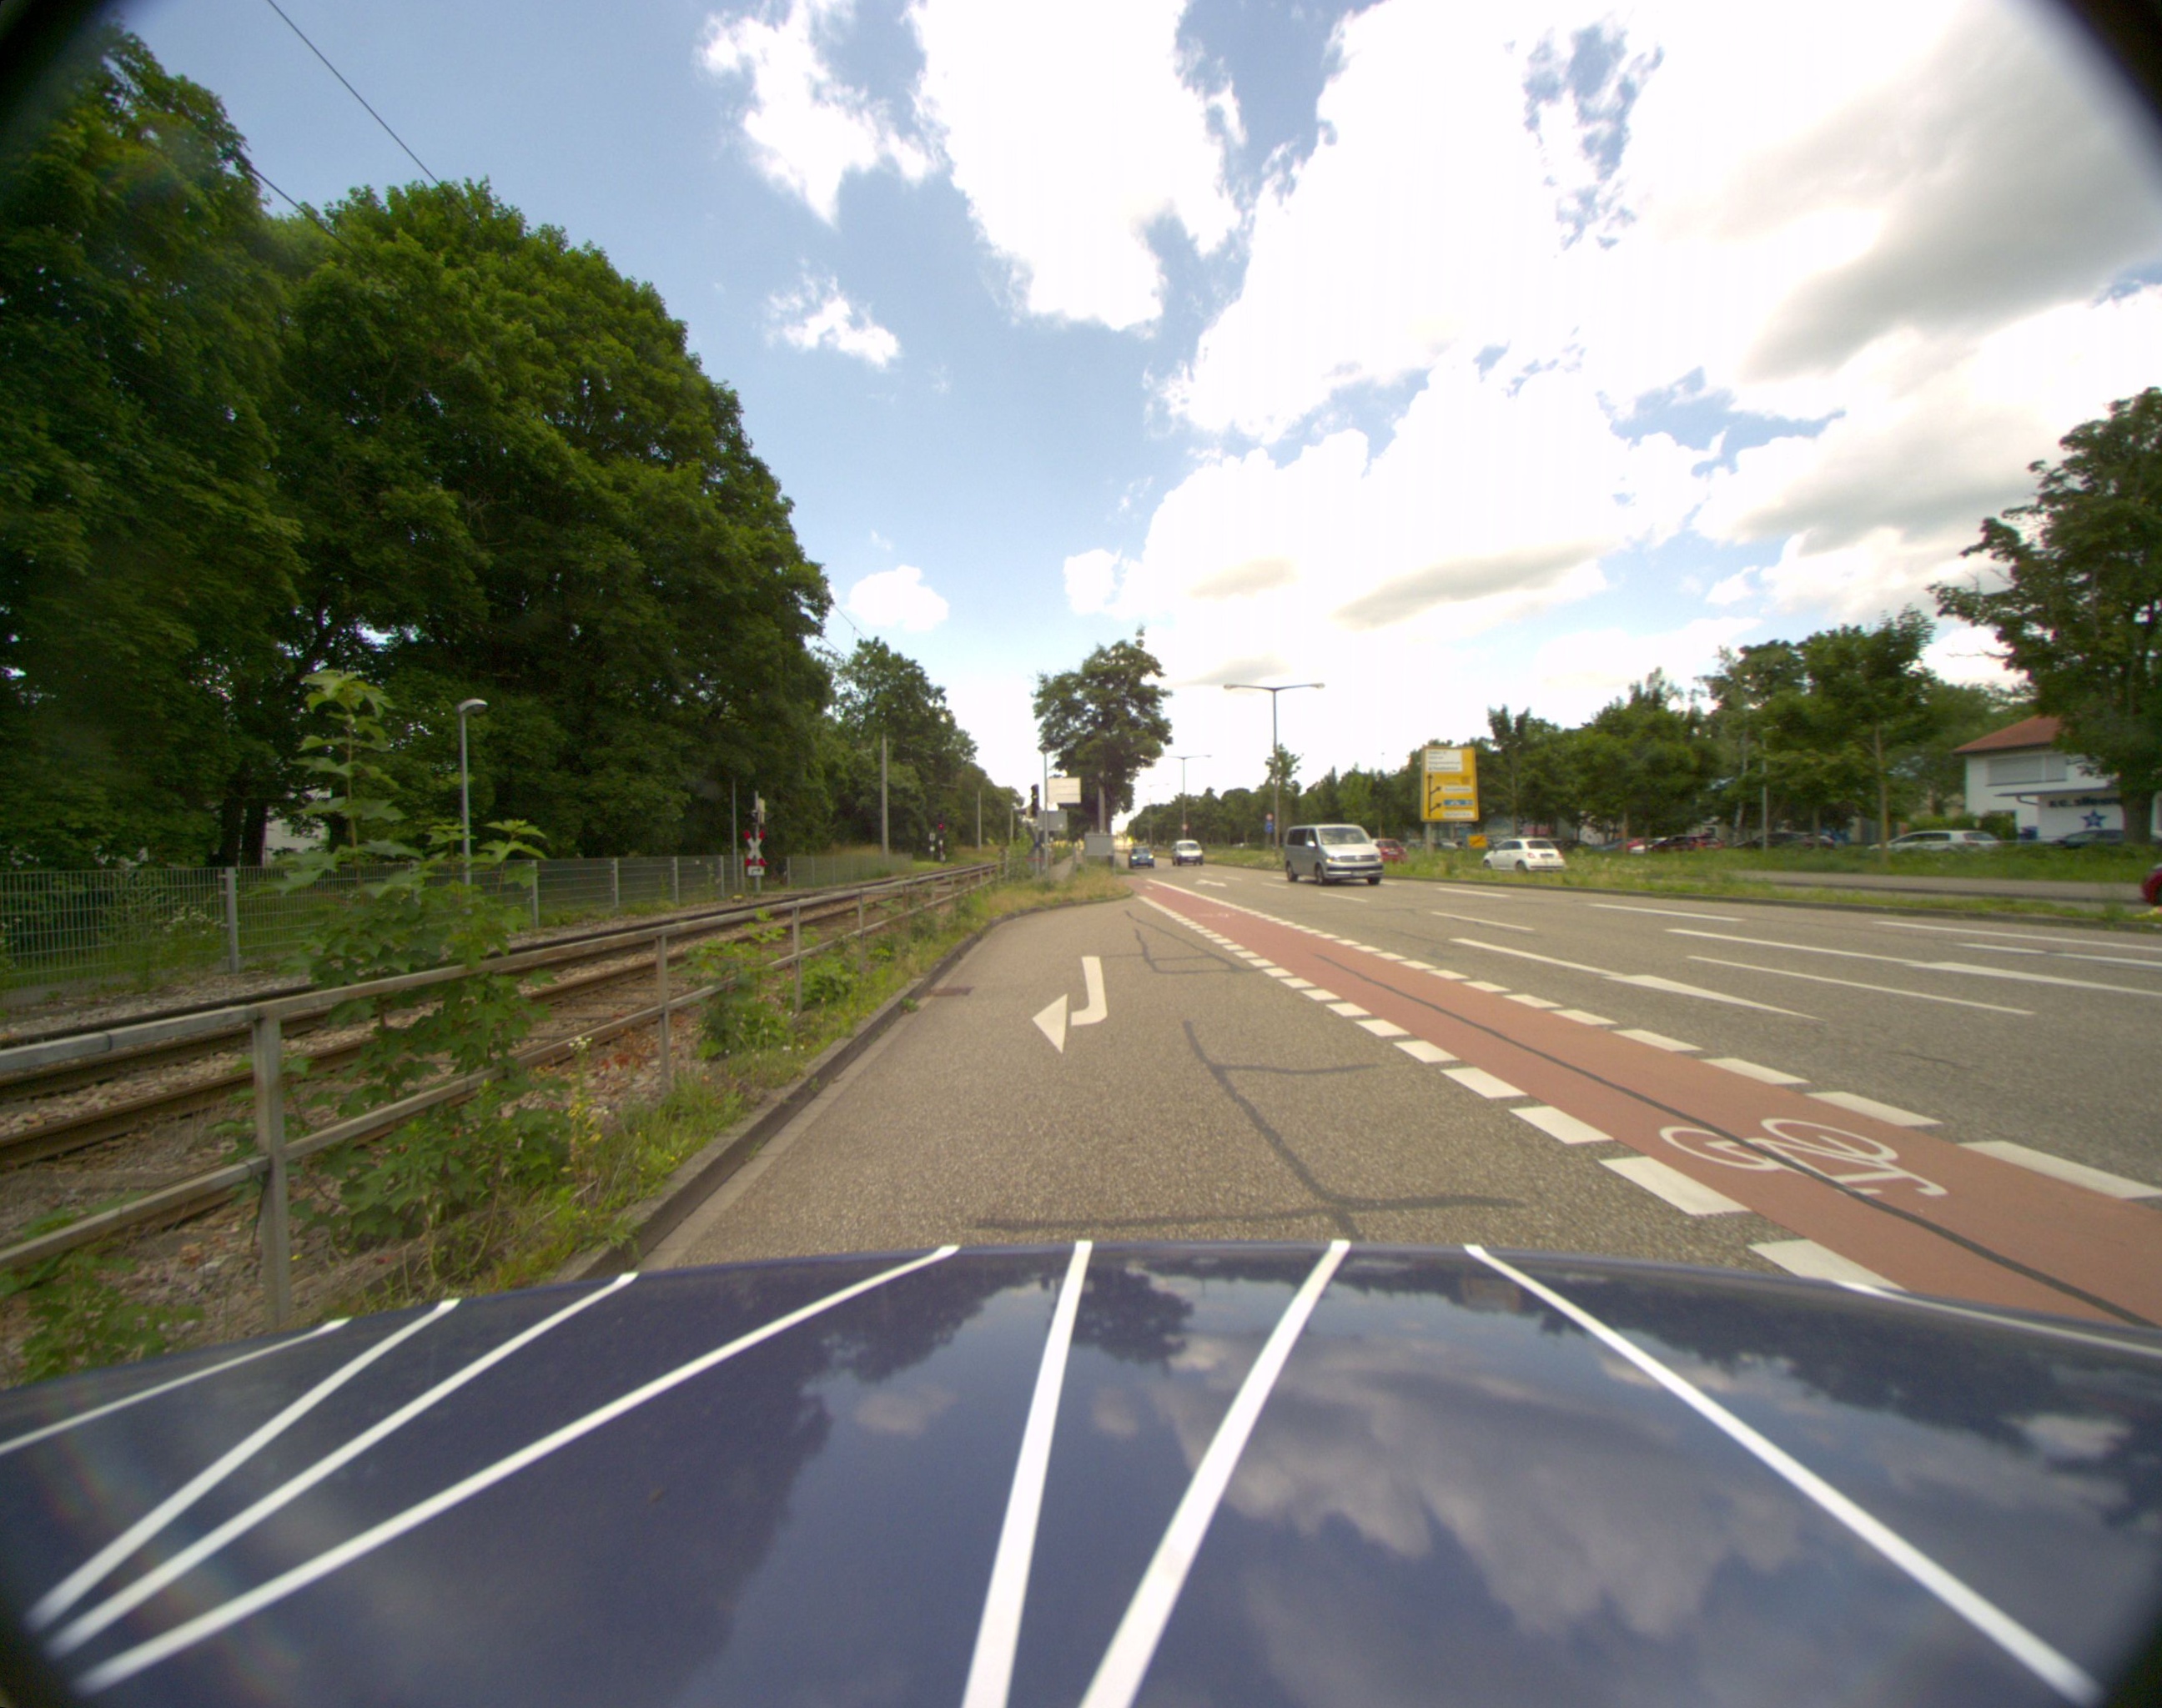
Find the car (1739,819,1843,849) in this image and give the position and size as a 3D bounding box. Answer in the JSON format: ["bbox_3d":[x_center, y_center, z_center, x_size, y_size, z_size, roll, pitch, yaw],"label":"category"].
[{"bbox_3d":[36.260,-1.000,38.950,1.729,1.403,3.865,-1,1,1],"label":"car"}]

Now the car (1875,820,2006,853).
[{"bbox_3d":[36.336,-0.729,32.253,1.625,1.324,3.476,-1,1,1],"label":"car"}]

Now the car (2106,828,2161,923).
[{"bbox_3d":[18.529,0.354,11.015,1.892,1.503,3.998,-2,1,-2],"label":"car"}]

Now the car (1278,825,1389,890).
[{"bbox_3d":[8.208,0.070,25.274,1.818,1.907,5.230,-1,1,-2],"label":"car"}]

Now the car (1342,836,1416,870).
[{"bbox_3d":[14.780,-0.069,37.911,1.999,1.609,3.999,-1,1,-1],"label":"car"}]

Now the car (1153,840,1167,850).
[{"bbox_3d":[12.622,-1.449,121.169,1.686,1.438,3.692,-1,1,-2],"label":"car"}]

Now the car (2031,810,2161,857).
[{"bbox_3d":[36.583,-0.711,26.548,1.762,1.578,4.022,-1,1,1],"label":"car"}]

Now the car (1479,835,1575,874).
[{"bbox_3d":[17.877,-0.015,30.647,1.616,1.437,3.592,-2,1,-2],"label":"car"}]

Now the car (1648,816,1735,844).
[{"bbox_3d":[36.299,-1.389,45.314,1.998,1.578,4.022,-1,1,1],"label":"car"}]

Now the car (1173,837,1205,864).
[{"bbox_3d":[7.611,-0.265,53.916,1.747,1.775,4.156,-2,1,2],"label":"car"}]
